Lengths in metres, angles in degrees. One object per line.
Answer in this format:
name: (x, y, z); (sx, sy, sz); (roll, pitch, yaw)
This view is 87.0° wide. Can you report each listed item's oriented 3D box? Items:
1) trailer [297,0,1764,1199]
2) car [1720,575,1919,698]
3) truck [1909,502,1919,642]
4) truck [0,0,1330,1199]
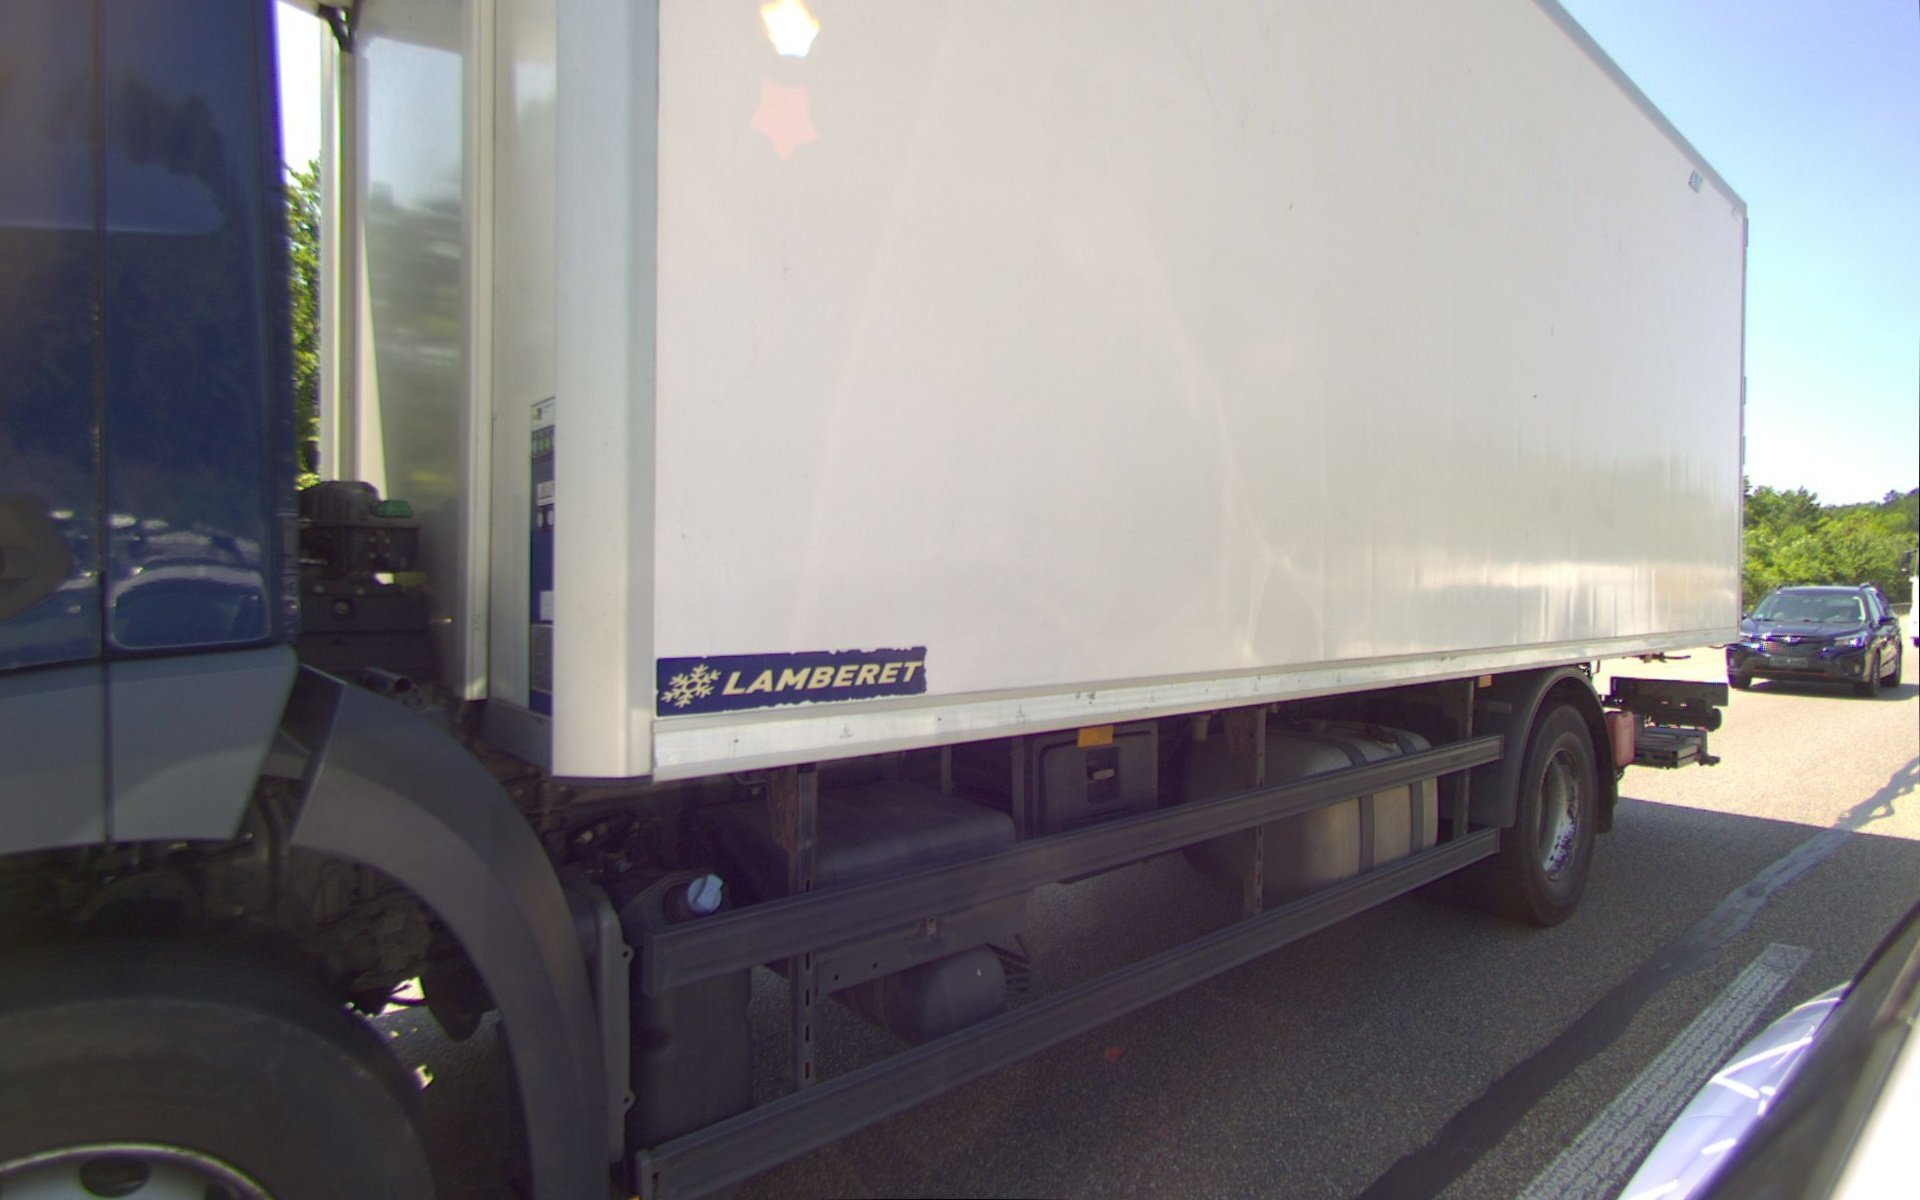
trailer: (1.495, -0.219, 5.020); (7.744, 2.936, 2.560); (0, 0, -41)
car: (14.256, 0.469, 16.686); (4.534, 1.713, 1.996); (-1, 2, -43)
truck: (31.823, -0.881, 31.316); (7.205, 4.135, 2.765); (-1, 1, -40)
truck: (-1.297, -0.183, 2.565); (4.032, 2.977, 2.561); (-1, 2, -41)
